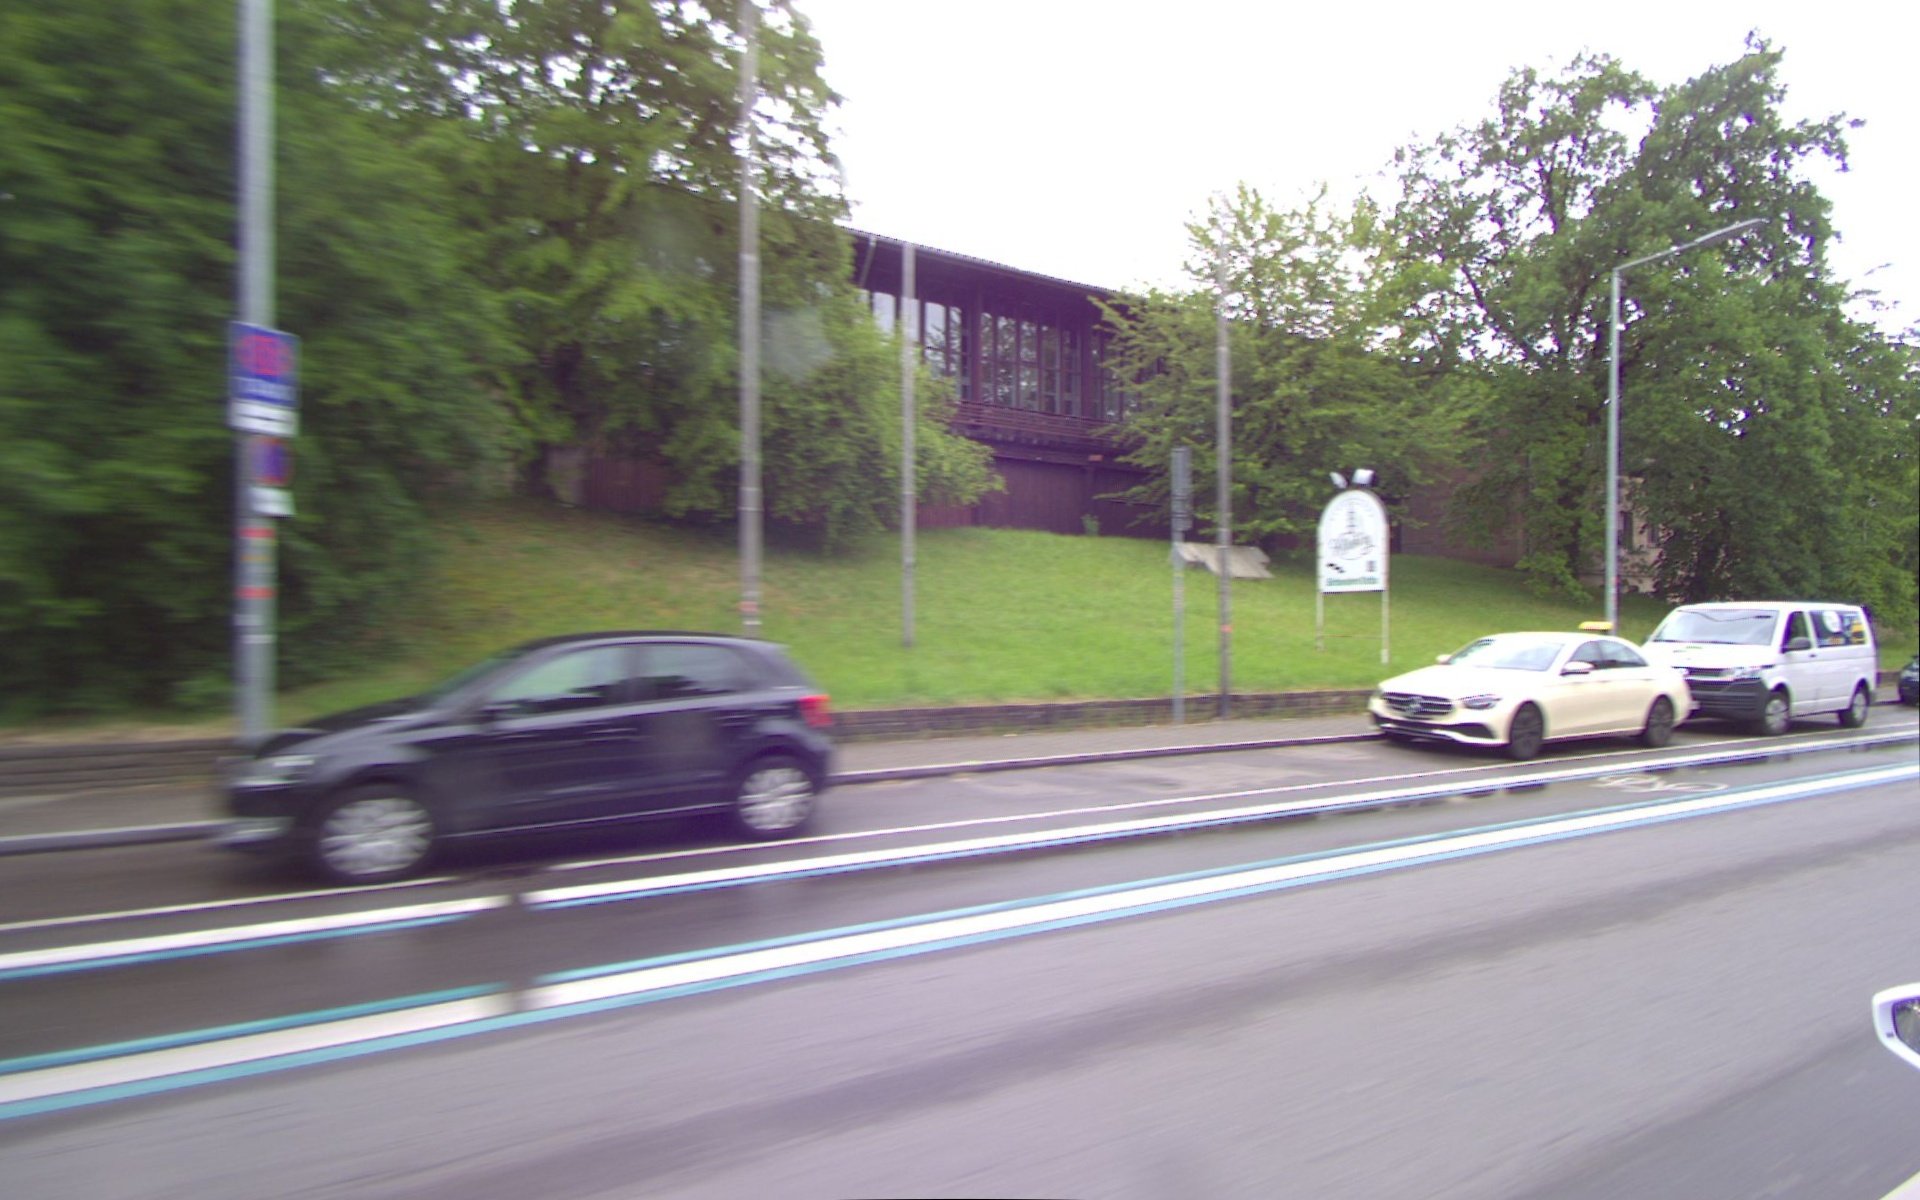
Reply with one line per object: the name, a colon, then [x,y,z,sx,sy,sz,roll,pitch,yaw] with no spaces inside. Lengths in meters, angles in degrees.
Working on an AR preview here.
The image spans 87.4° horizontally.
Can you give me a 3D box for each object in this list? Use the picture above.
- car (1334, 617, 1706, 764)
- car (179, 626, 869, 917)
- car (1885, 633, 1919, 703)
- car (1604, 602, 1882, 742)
car: [7.426,1.051,13.216,4.923,1.627,1.982,1,-1,-29]
car: [-2.798,0.938,7.020,4.009,1.456,1.686,0,-1,-32]
car: [21.688,1.417,21.432,4.319,1.409,1.723,0,-1,-31]
car: [12.625,1.025,16.117,4.870,1.957,1.904,0,-1,-31]
